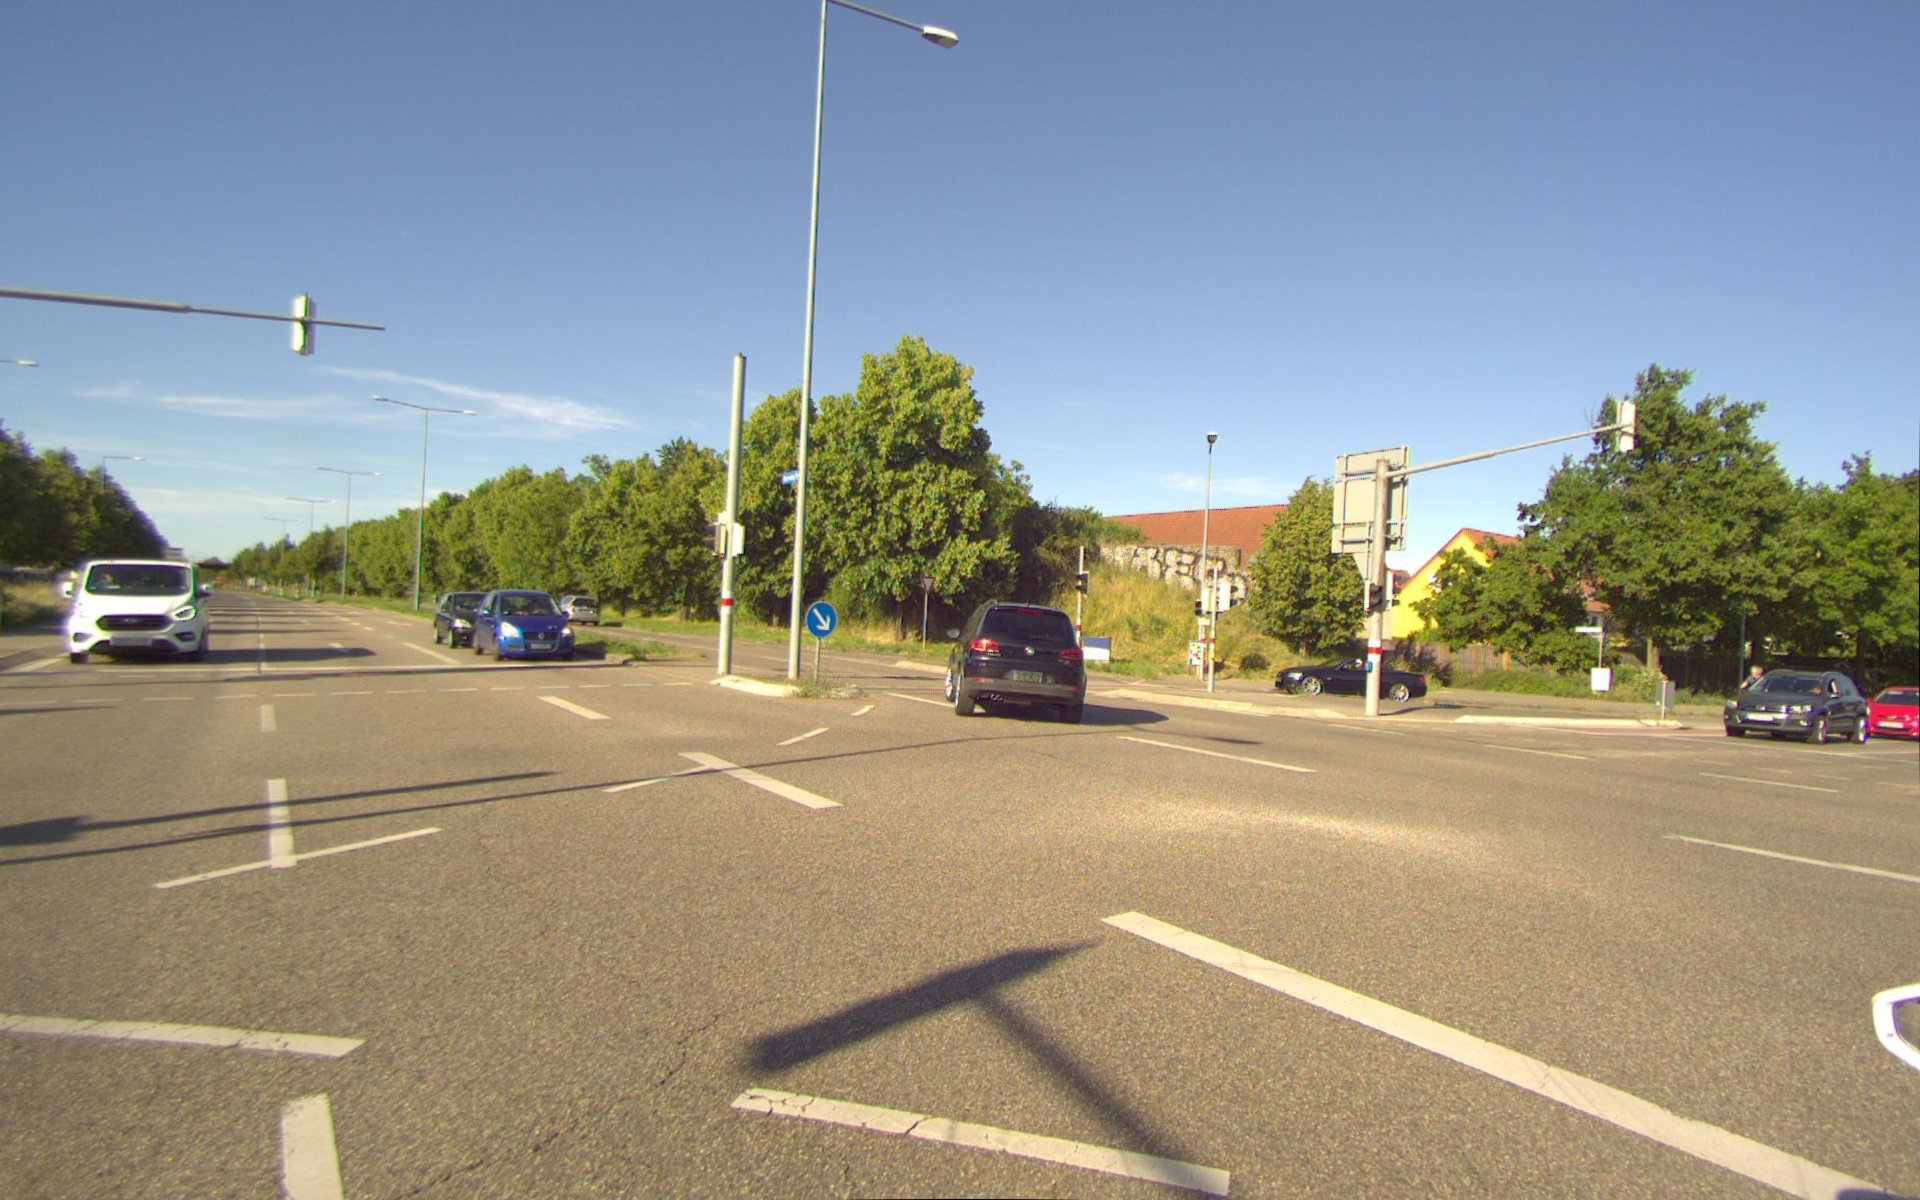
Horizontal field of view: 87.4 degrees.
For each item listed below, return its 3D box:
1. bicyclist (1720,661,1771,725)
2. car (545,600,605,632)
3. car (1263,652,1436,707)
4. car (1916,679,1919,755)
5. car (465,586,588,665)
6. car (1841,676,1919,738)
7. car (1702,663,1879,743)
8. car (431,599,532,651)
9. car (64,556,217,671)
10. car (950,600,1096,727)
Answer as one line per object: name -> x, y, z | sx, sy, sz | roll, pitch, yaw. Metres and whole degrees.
bicyclist -> 22.213, 2.635, 28.406 | 1.229, 1.724, 0.740 | 4, -1, -33
car -> -21.138, 0.842, 55.016 | 2.028, 1.638, 4.373 | 1, 0, -35
car -> 12.206, 2.477, 31.682 | 4.592, 1.326, 2.048 | 4, -2, -1
car -> 21.854, 2.509, 20.894 | 4.481, 1.526, 1.784 | 4, -2, -32
car -> -10.201, 0.536, 23.482 | 1.874, 1.666, 3.999 | 1, 0, -35
car -> 26.195, 2.946, 27.873 | 3.673, 1.502, 1.636 | 4, -2, -32
car -> 20.099, 2.460, 24.268 | 4.481, 1.665, 1.983 | 4, -2, -32
car -> -13.270, 0.646, 27.716 | 1.874, 1.292, 3.999 | 1, 0, -35
car -> -16.614, 0.239, 20.625 | 2.027, 2.040, 5.223 | 1, 0, -35
car -> 0.829, 0.899, 15.499 | 1.797, 1.648, 3.999 | 2, -1, -2
